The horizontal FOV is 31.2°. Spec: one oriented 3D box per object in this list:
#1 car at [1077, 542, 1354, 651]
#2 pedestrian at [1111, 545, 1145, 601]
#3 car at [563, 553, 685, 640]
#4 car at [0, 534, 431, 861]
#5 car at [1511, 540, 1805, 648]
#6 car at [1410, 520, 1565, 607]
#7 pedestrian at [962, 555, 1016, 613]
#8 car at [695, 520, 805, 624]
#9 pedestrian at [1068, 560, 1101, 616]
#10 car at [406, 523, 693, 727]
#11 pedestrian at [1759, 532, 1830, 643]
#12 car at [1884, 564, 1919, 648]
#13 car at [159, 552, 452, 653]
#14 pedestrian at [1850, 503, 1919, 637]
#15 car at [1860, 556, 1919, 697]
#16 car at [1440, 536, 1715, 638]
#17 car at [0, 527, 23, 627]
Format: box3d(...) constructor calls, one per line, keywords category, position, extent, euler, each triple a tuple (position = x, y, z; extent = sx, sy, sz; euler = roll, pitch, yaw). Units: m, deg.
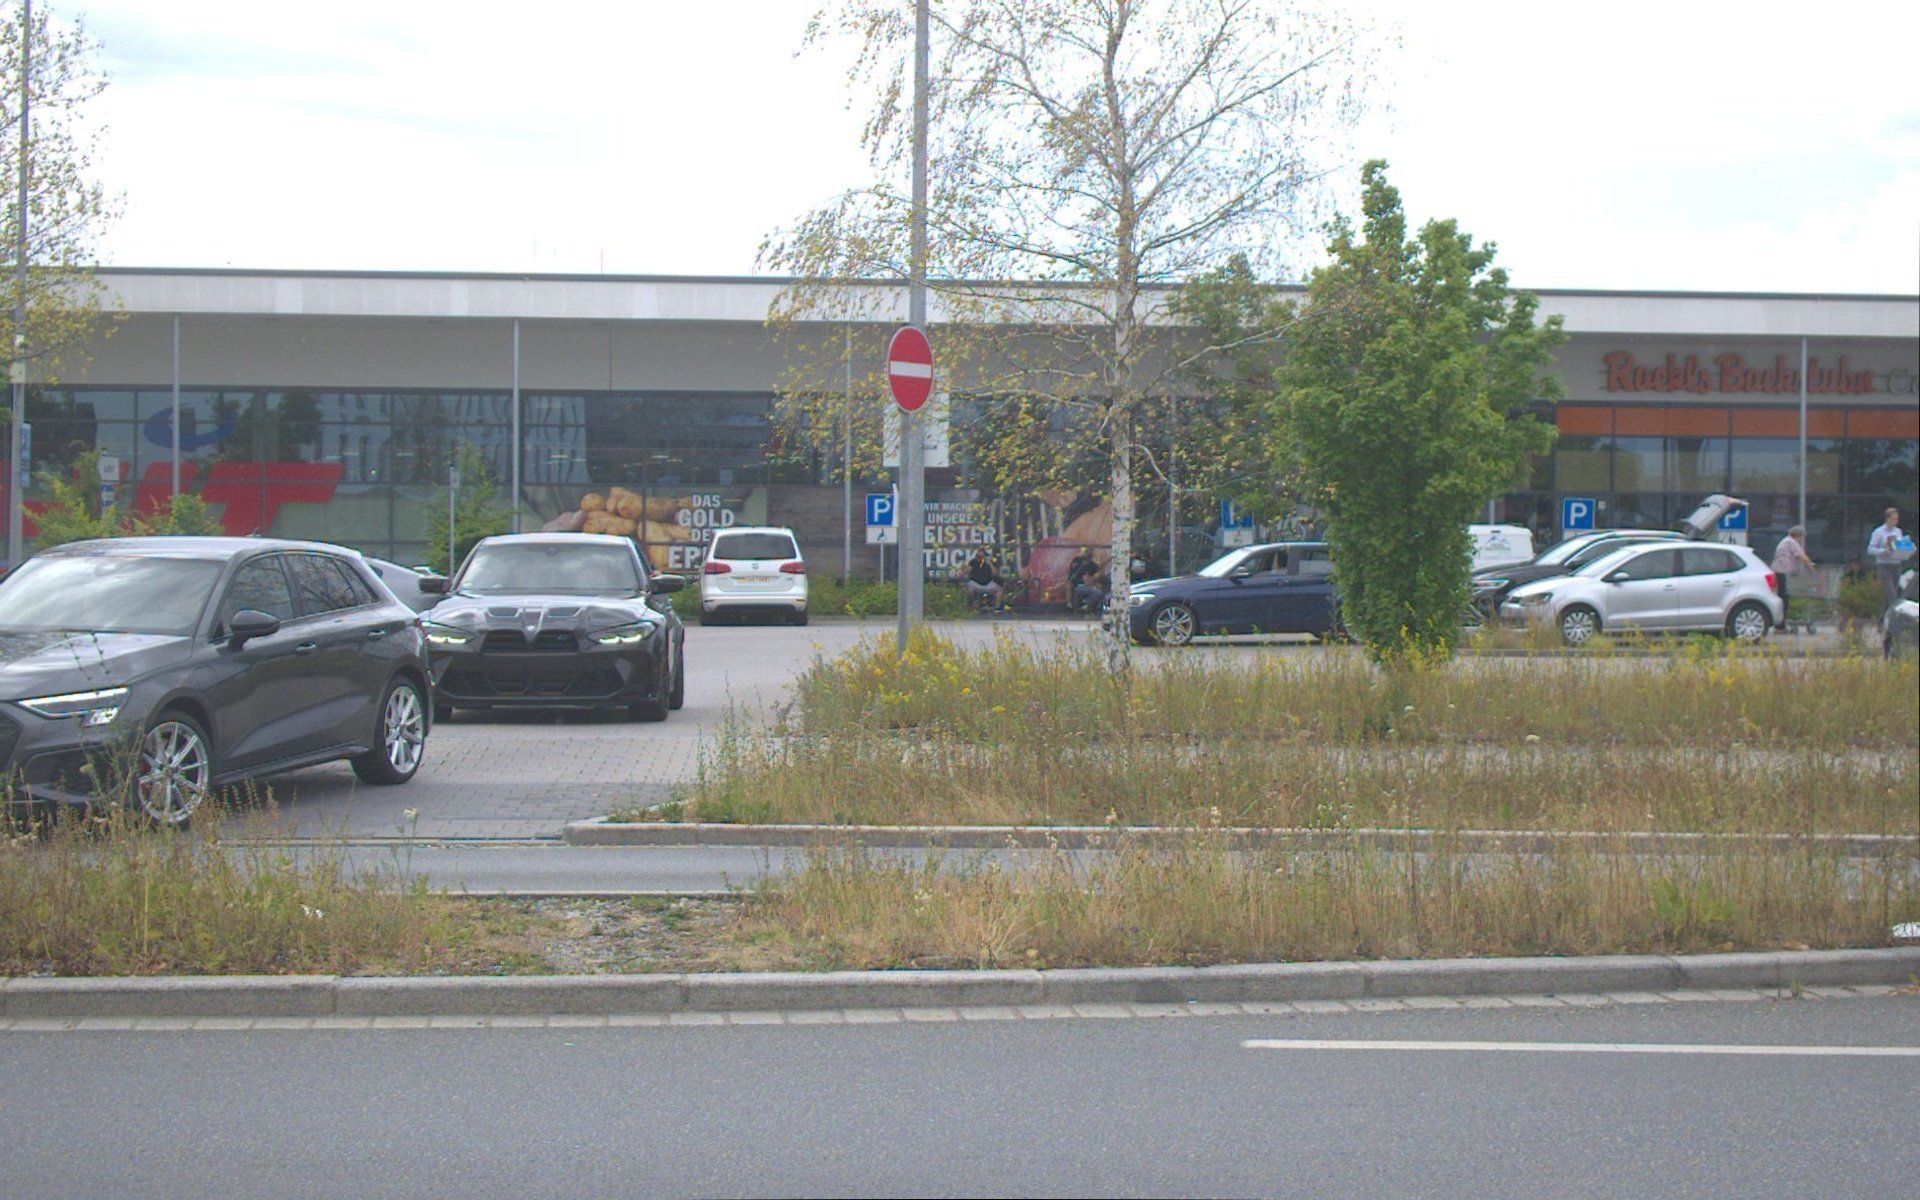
box3d(category="car", position=(3.536, -0.056, 48.018), extent=(3.606, 1.449, 1.668), euler=(1, 1, -6))
box3d(category="pedestrian", position=(3.378, -0.546, 69.280), extent=(0.576, 1.120, 0.562), euler=(0, 1, -8))
box3d(category="car", position=(-5.889, -0.083, 60.653), extent=(1.906, 1.439, 4.001), euler=(0, 1, -2))
box3d(category="car", position=(-4.464, 0.407, 18.188), extent=(1.793, 1.461, 4.318), euler=(1, 2, 13))
box3d(category="car", position=(9.864, -0.092, 48.761), extent=(3.746, 1.449, 1.668), euler=(1, 1, -5))
box3d(category="car", position=(9.479, -0.682, 62.043), extent=(1.993, 1.503, 4.001), euler=(0, 1, -3))
box3d(category="pedestrian", position=(0.582, -0.340, 70.404), extent=(0.970, 1.150, 1.133), euler=(1, 1, -6))
box3d(category="car", position=(-3.677, -0.525, 60.780), extent=(1.824, 1.694, 4.234), euler=(1, 2, -2))
box3d(category="pedestrian", position=(2.543, -0.242, 70.182), extent=(0.576, 1.120, 0.562), euler=(0, 1, -8))
box3d(category="car", position=(-3.111, 0.148, 26.865), extent=(1.779, 1.440, 4.610), euler=(1, 1, -1))
box3d(category="pedestrian", position=(12.524, -0.193, 51.632), extent=(0.821, 1.626, 0.899), euler=(1, 1, 0))
box3d(category="car", position=(18.519, 0.127, 62.870), extent=(1.993, 1.503, 4.001), euler=(1, 1, -3))
box3d(category="car", position=(-9.343, 0.026, 49.332), extent=(3.986, 1.347, 2.000), euler=(1, 1, -7))
box3d(category="pedestrian", position=(14.026, -0.461, 51.941), extent=(0.865, 2.007, 1.004), euler=(1, 1, 0))
box3d(category="car", position=(10.388, 0.268, 34.116), extent=(1.989, 1.379, 4.149), euler=(1, 1, 3))
box3d(category="car", position=(9.267, -0.207, 51.722), extent=(3.746, 1.449, 1.668), euler=(1, 1, -5))
box3d(category="car", position=(-17.492, -0.414, 54.230), extent=(5.006, 1.552, 2.001), euler=(1, 1, -9))
